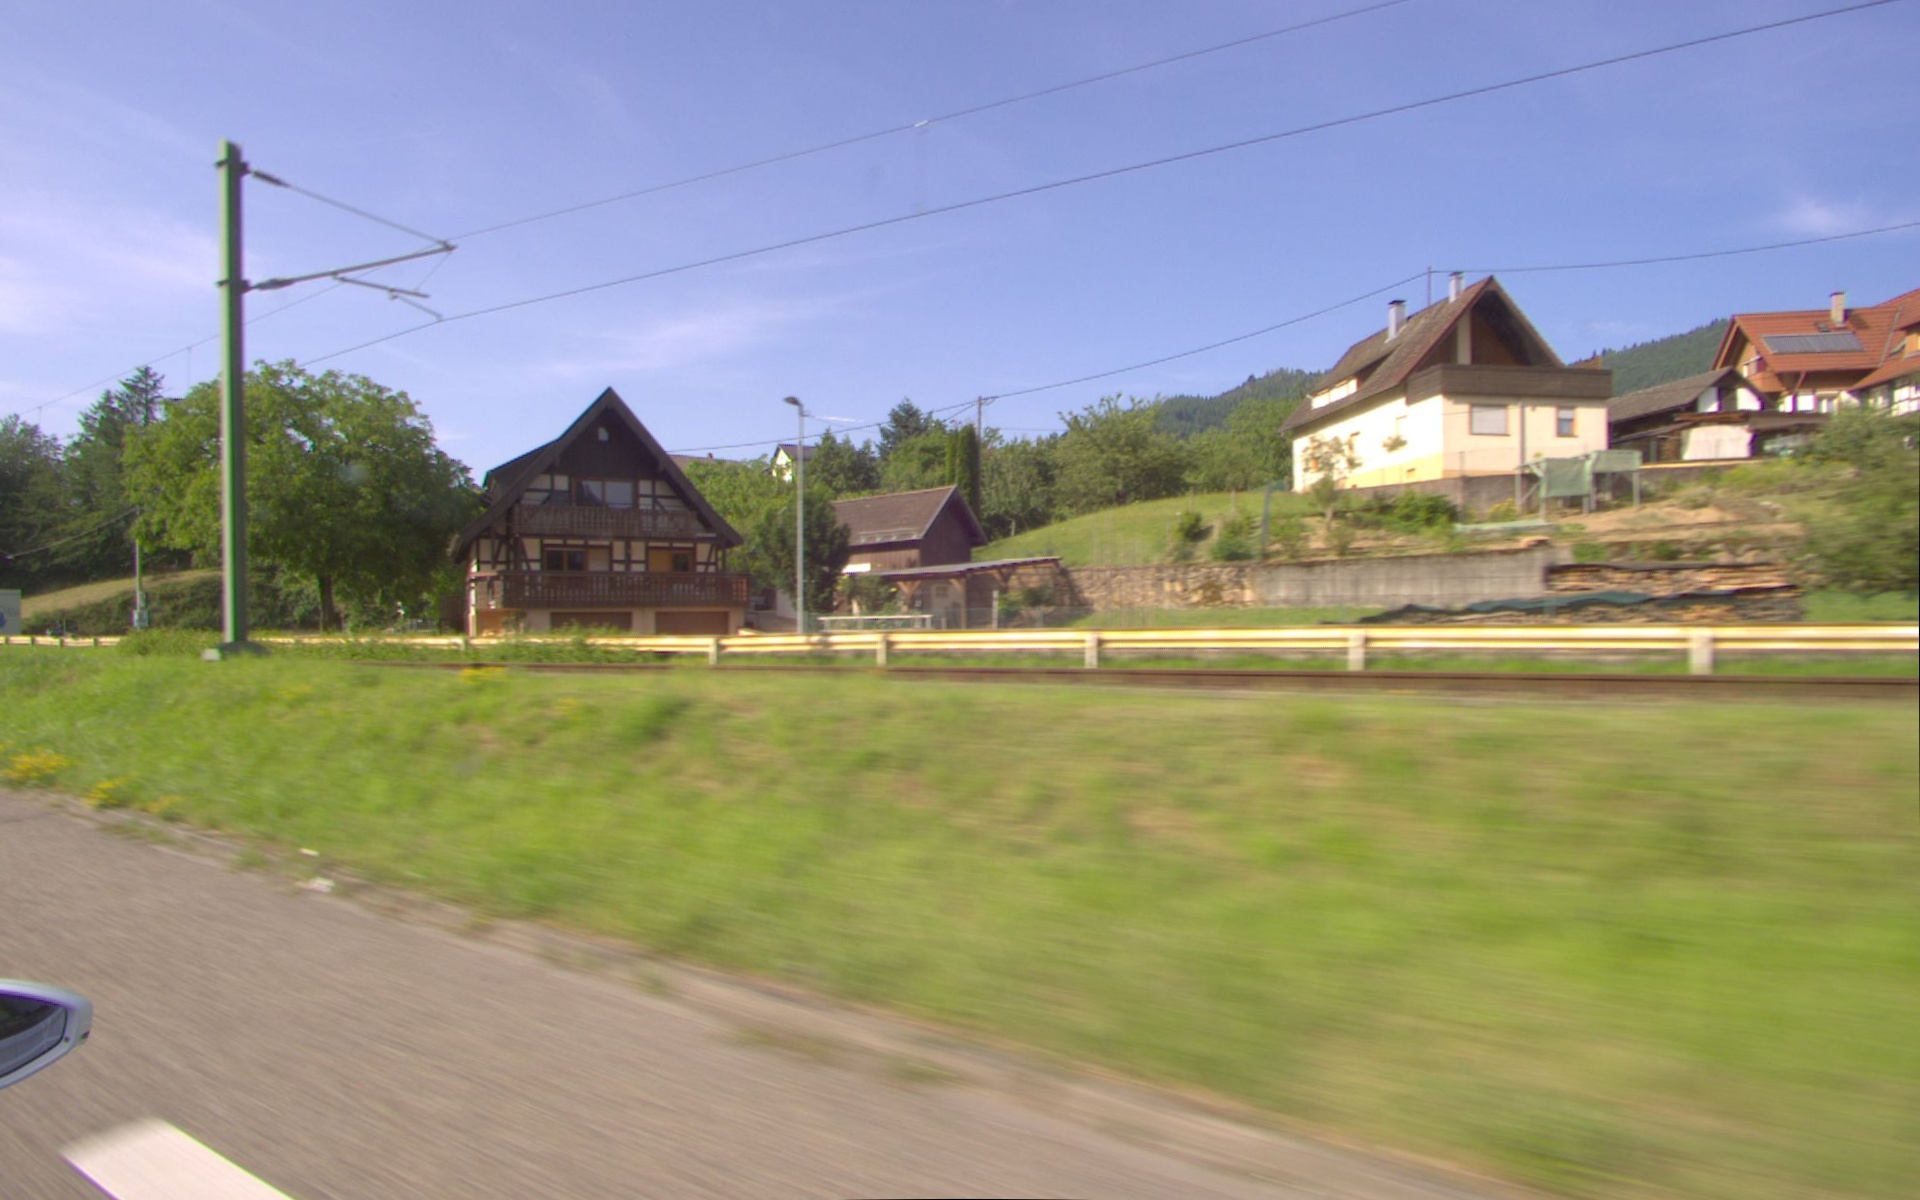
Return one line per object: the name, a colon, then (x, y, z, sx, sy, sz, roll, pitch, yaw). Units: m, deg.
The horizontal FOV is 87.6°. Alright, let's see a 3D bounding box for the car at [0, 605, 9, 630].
car: (-74.237, 1.333, 75.257, 3.958, 1.906, 1.861, 1, -1, -42)
